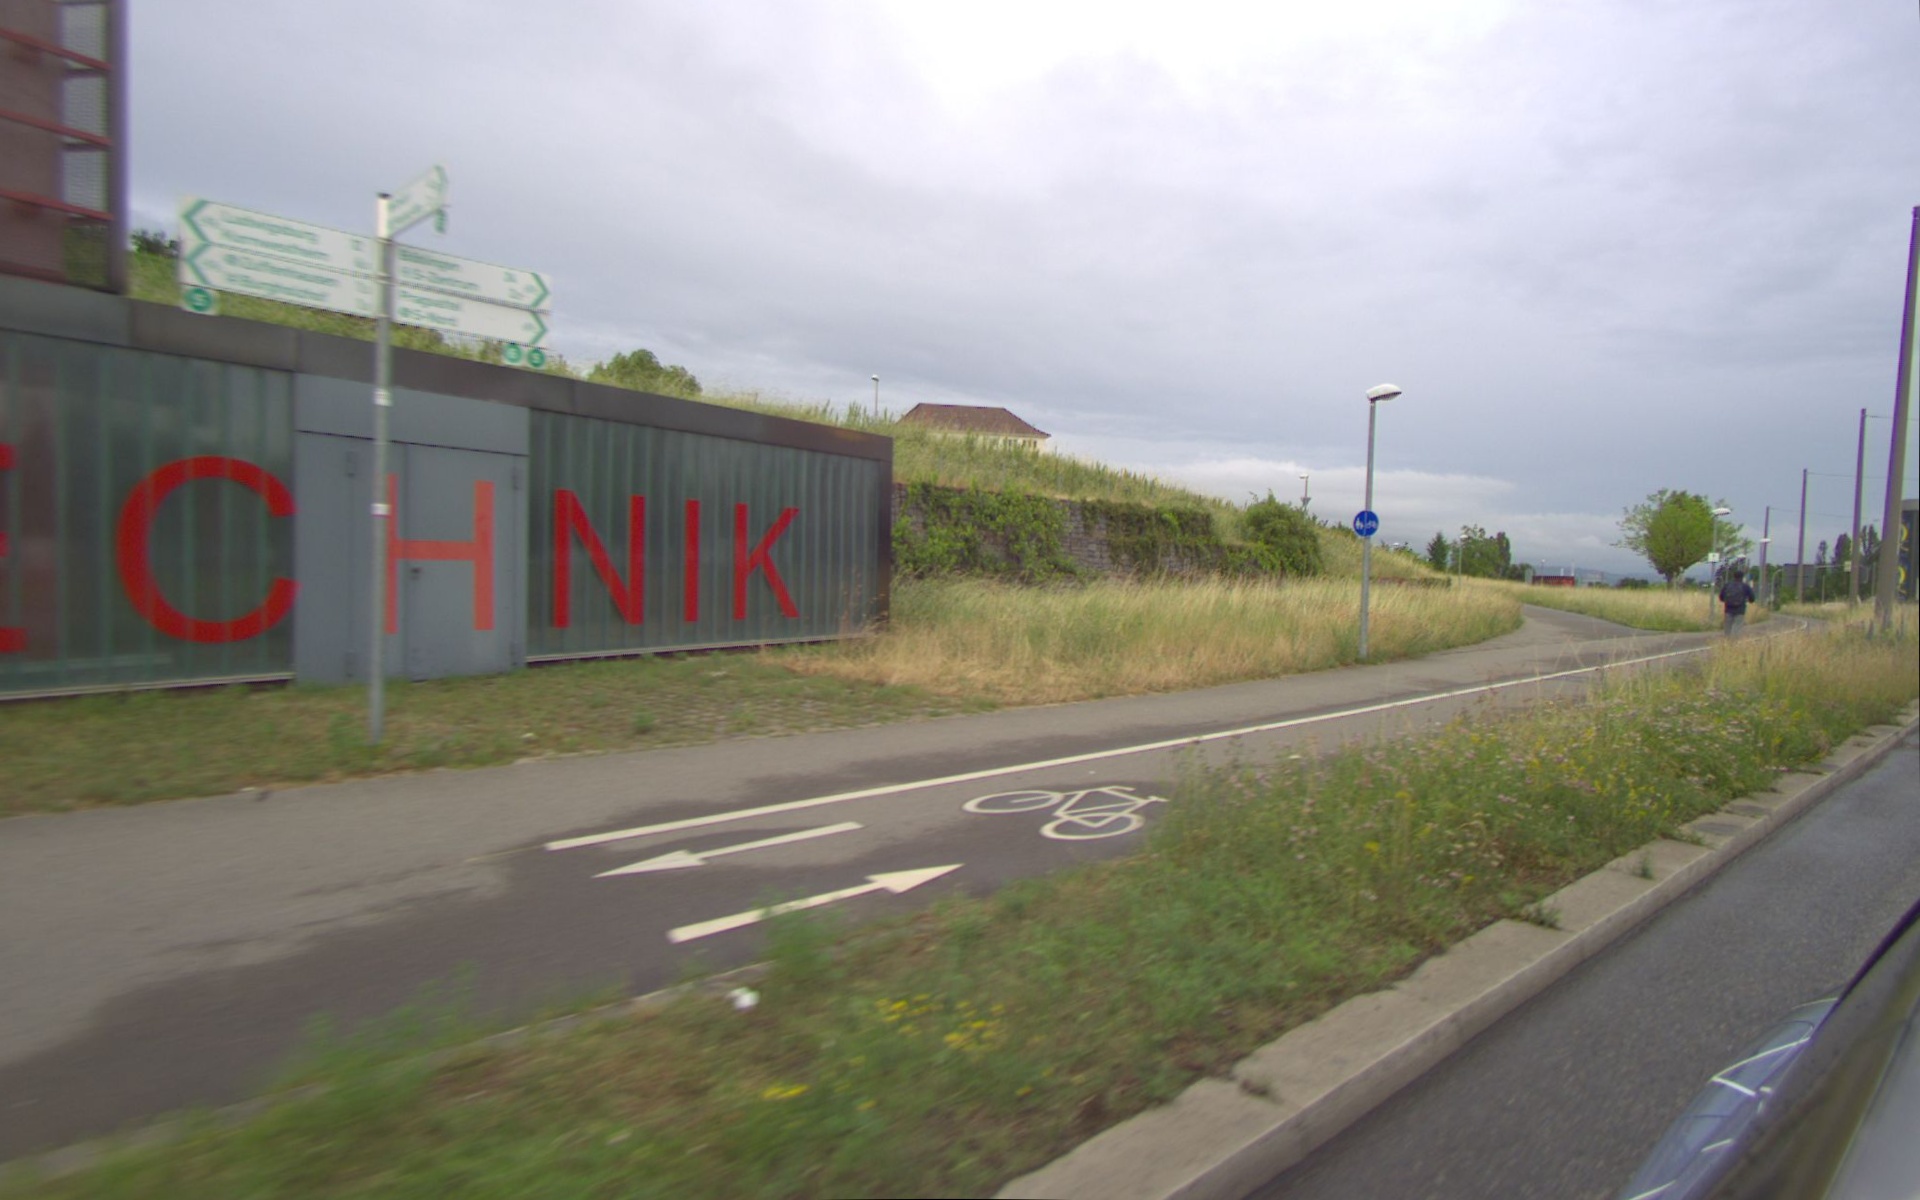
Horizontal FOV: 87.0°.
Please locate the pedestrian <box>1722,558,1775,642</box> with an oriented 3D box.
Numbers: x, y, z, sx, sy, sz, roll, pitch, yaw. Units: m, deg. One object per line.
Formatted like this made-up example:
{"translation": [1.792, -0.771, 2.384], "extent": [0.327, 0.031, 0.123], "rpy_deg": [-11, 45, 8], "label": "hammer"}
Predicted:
{"translation": [16.871, -0.006, 21.677], "extent": [0.794, 1.745, 0.977], "rpy_deg": [0, 0, 33], "label": "pedestrian"}
